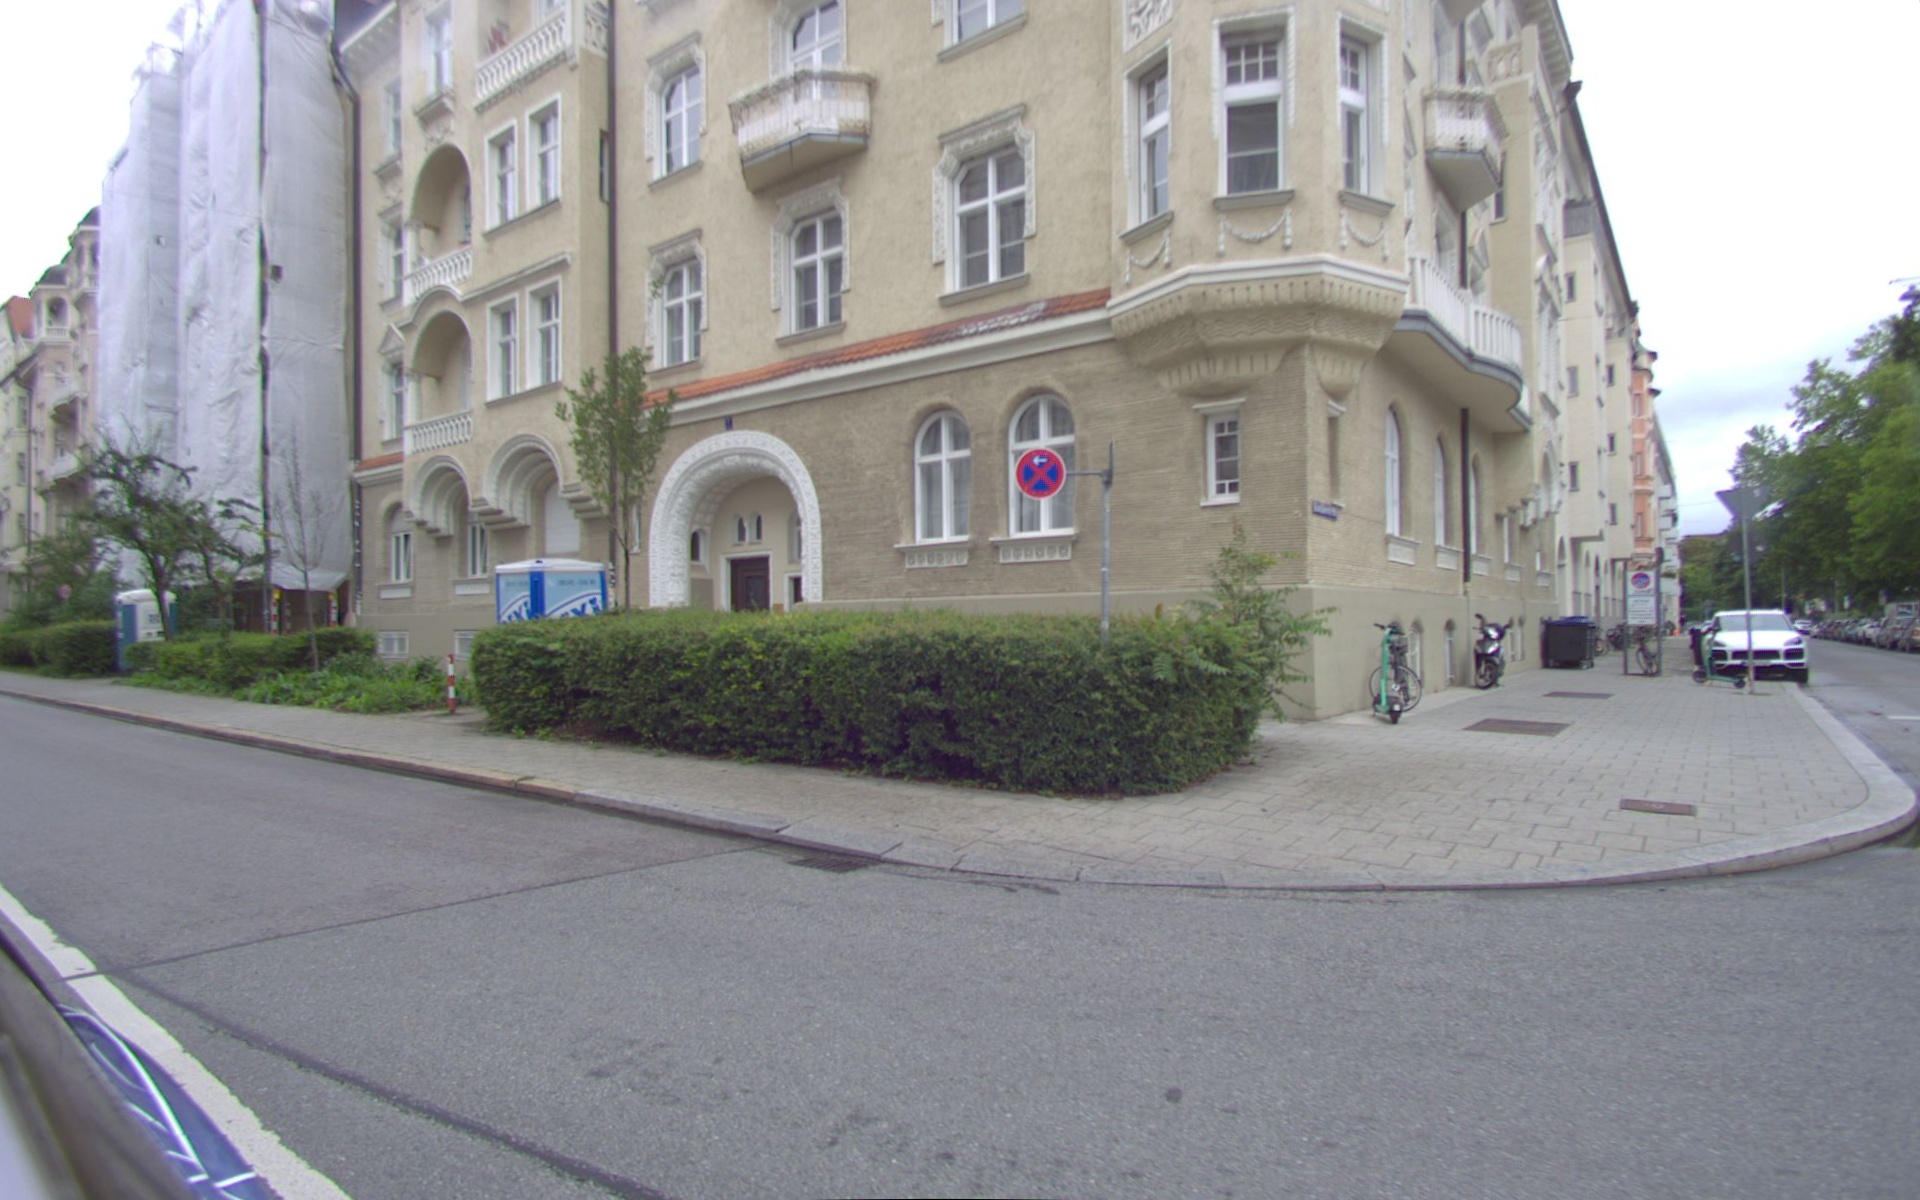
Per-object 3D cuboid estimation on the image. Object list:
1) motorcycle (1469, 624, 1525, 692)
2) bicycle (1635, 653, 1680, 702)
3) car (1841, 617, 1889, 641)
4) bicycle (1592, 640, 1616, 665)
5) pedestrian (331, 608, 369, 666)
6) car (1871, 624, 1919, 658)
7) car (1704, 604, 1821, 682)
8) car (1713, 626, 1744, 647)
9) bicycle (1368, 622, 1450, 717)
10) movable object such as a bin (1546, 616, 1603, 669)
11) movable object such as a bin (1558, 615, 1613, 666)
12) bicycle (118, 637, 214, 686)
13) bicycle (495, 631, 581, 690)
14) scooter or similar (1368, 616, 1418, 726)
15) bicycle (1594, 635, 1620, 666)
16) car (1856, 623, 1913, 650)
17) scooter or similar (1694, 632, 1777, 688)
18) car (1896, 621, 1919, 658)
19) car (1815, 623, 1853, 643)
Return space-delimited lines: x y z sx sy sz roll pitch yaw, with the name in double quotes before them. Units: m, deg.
"motorcycle" 10.032 1.056 18.880 0.740 1.195 1.726 -2 -2 34
"bicycle" 16.459 1.805 23.917 0.651 1.077 1.956 -1 -2 29
"car" 53.186 1.702 59.532 1.672 1.308 3.631 -4 -4 36
"bicycle" 24.687 2.004 38.797 0.651 0.909 1.797 -1 -2 29
"pedestrian" -19.007 1.150 31.531 0.772 1.759 0.762 -2 -1 36
"car" 44.129 1.896 47.421 1.672 1.468 3.631 -4 -4 36
"car" 19.413 1.009 24.683 1.996 1.689 4.929 -1 -2 36
"car" 63.315 2.987 83.400 1.950 1.651 3.949 -2 -2 37
"bicycle" 6.351 0.927 14.243 0.697 1.212 2.314 -2 -2 33
"movable object such as a bin" 16.630 1.134 27.385 1.147 1.381 1.165 -2 -2 39
"movable object such as a bin" 17.466 1.134 28.246 1.147 1.381 1.165 -2 -2 39
"bicycle" -20.837 1.601 26.584 0.690 1.085 1.842 -2 2 39
"bicycle" -9.262 1.297 22.179 2.074 1.215 0.813 -2 -1 38
"scooter or similar" 5.325 0.848 12.493 0.455 1.281 1.276 -1 -2 19
"bicycle" 23.235 1.800 36.351 0.651 1.077 1.797 -1 -2 29
"car" 47.372 1.863 51.929 1.672 1.308 3.631 -4 -4 36
"scooter or similar" 15.985 1.217 20.906 0.534 1.117 1.349 0 -2 -7
"car" 39.889 1.573 41.516 1.672 1.468 3.631 -4 -4 36
"car" 61.617 2.343 71.385 1.672 1.308 3.631 -4 -4 36
